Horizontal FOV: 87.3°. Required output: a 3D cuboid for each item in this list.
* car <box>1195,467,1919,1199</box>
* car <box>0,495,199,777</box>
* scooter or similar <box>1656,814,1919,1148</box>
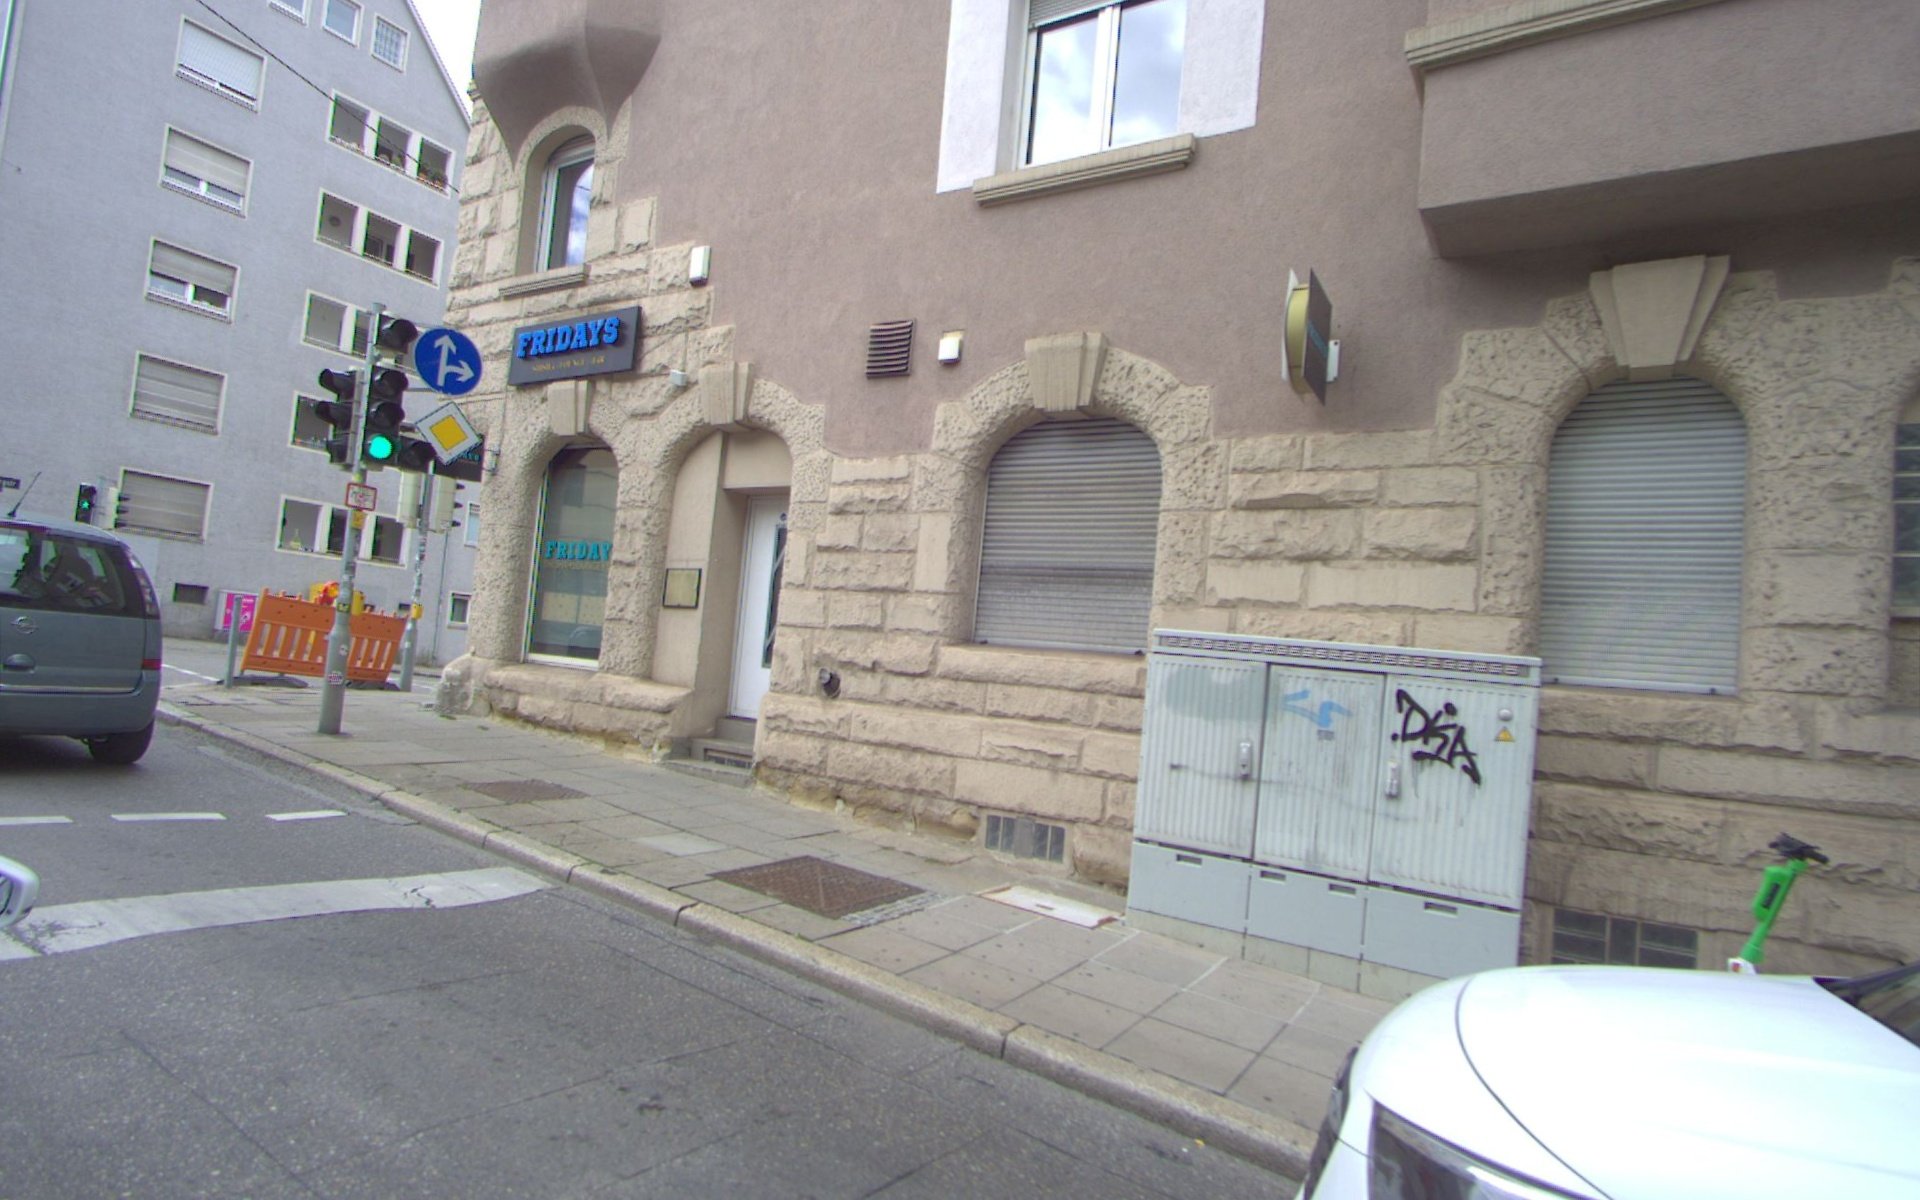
[{"bbox_3d":[2.715,1.091,0.867,4.598,1.793,1.983,6,-6,30],"label":"car"},{"bbox_3d":[-7.006,0.064,6.788,3.608,1.615,1.633,6,-3,32],"label":"car"},{"bbox_3d":[3.896,1.635,4.304,1.400,1.117,0.527,6,-1,34],"label":"scooter or similar"}]
